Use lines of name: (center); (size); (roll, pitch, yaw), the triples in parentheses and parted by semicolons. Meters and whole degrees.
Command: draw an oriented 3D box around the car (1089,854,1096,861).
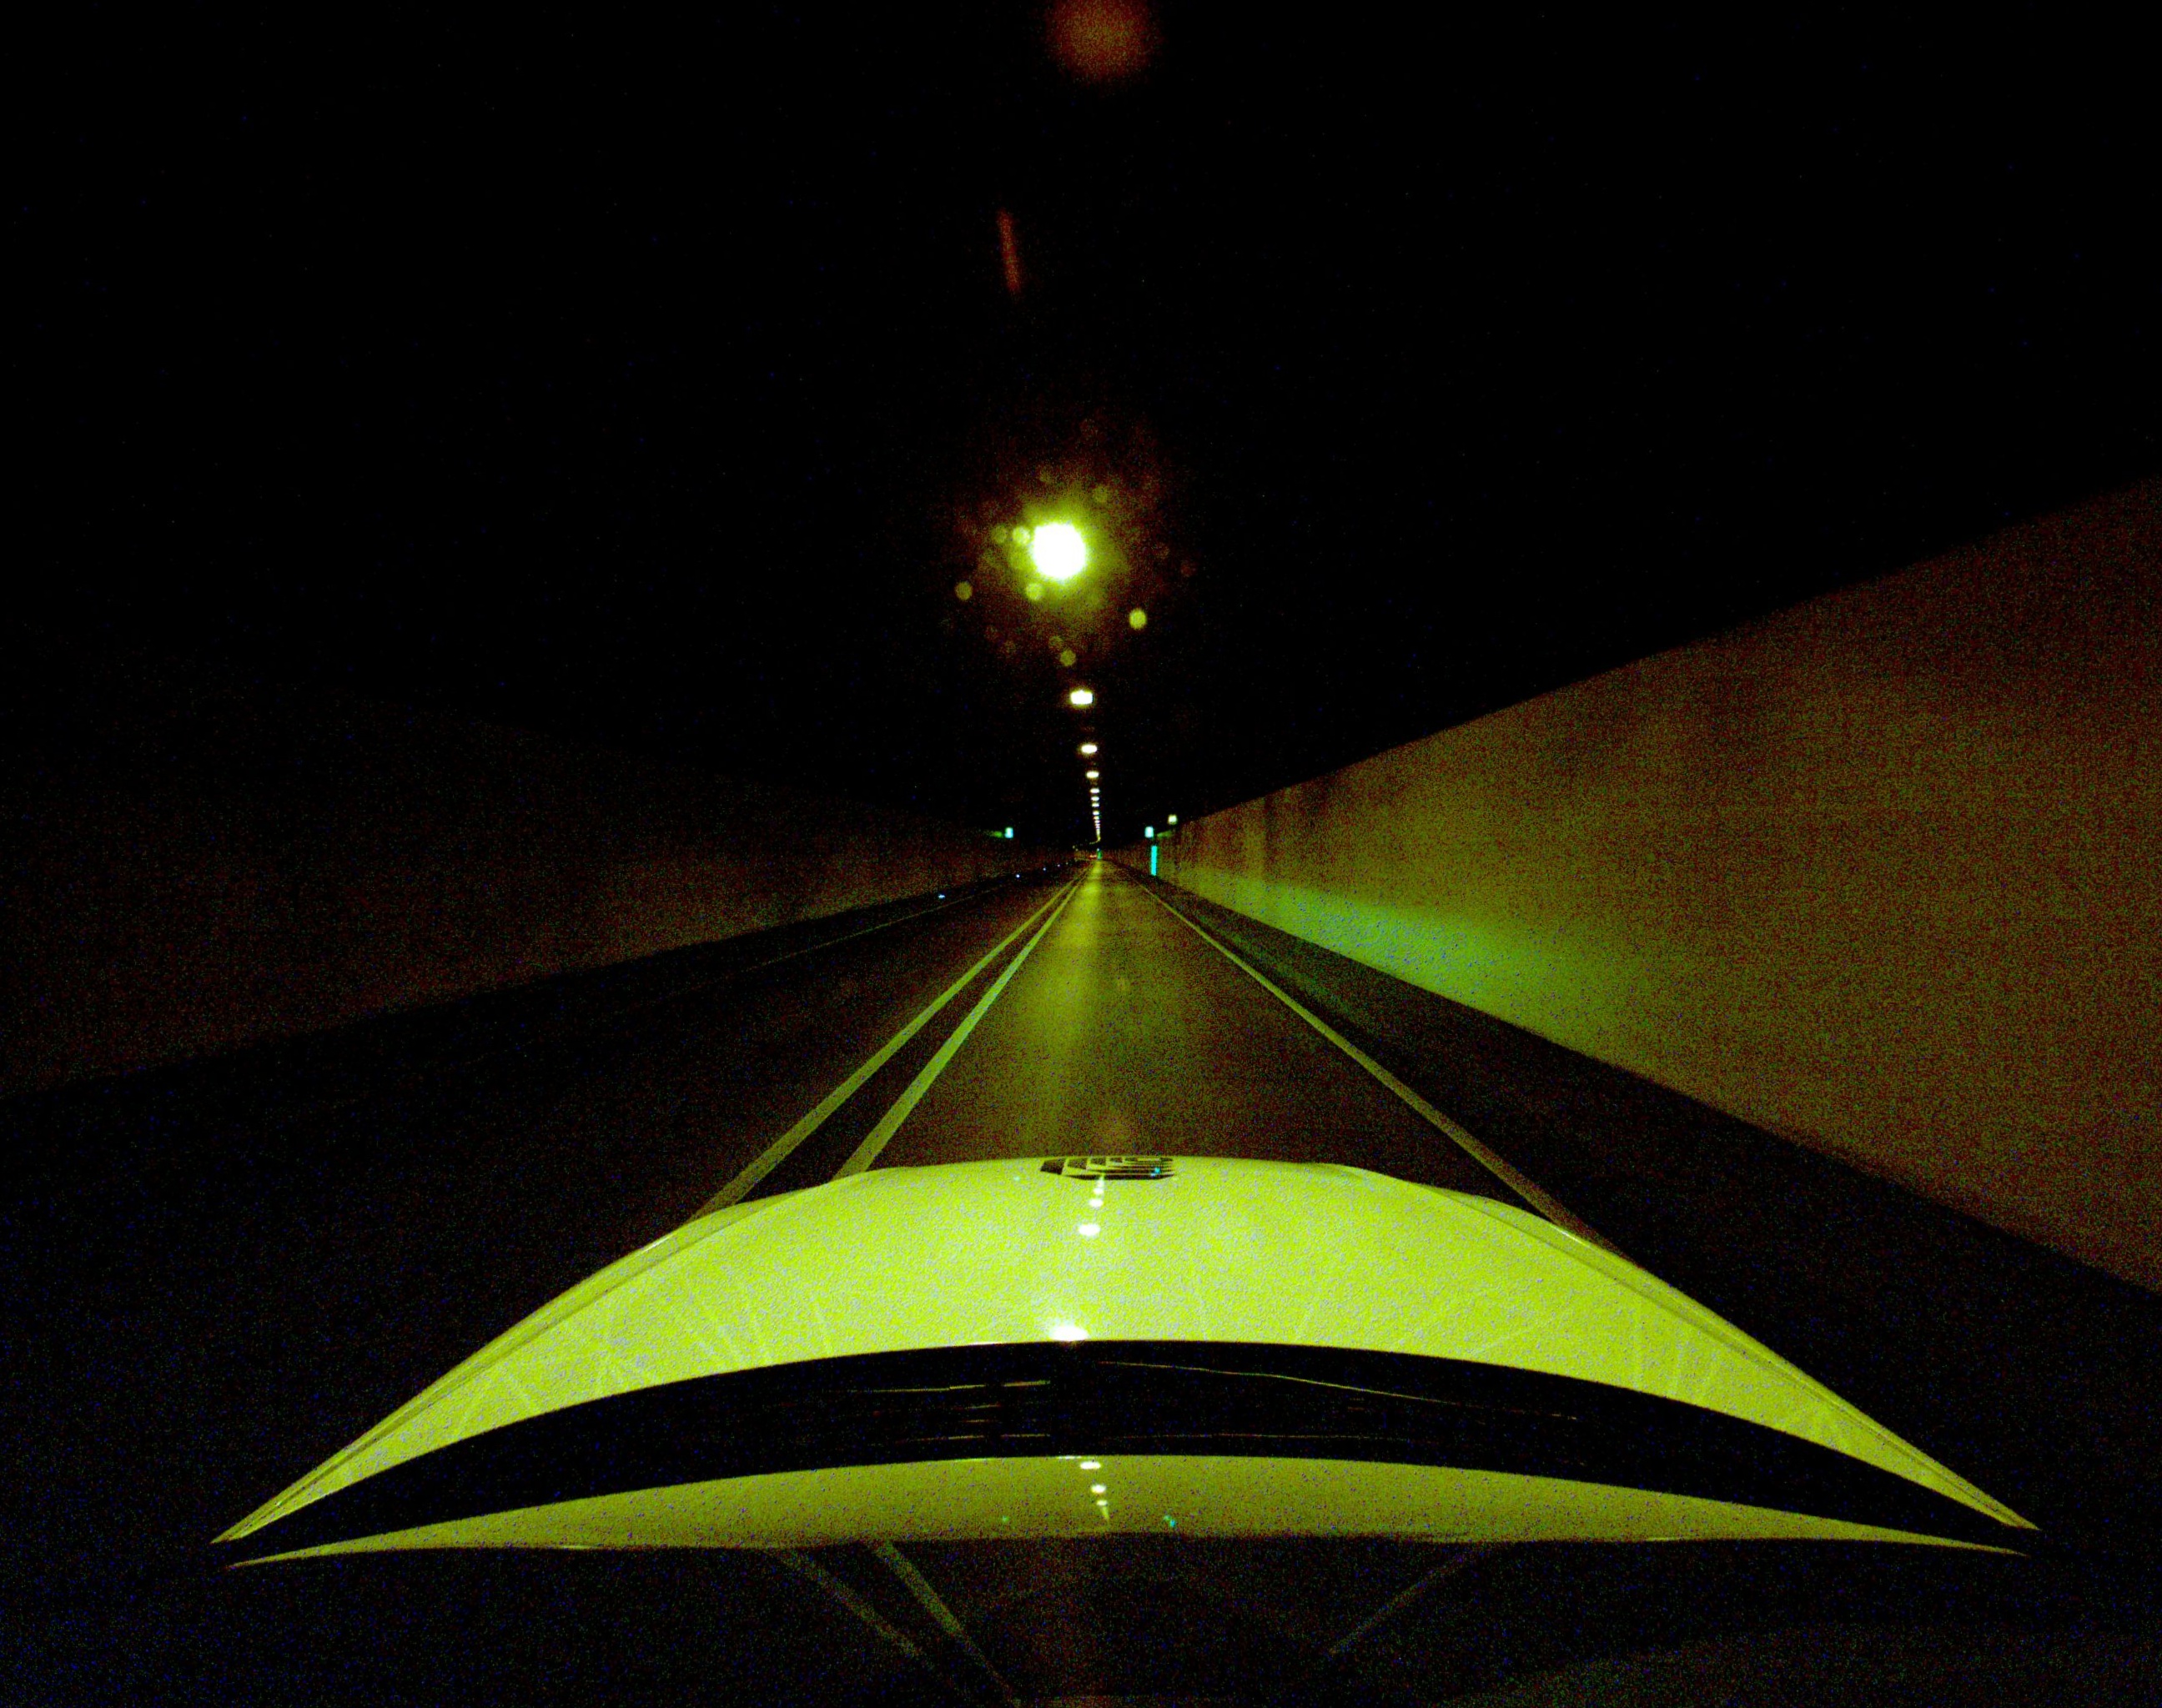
car: (3.350, 0.985, 237.369); (1.962, 1.939, 4.607); (1, -1, -3)
